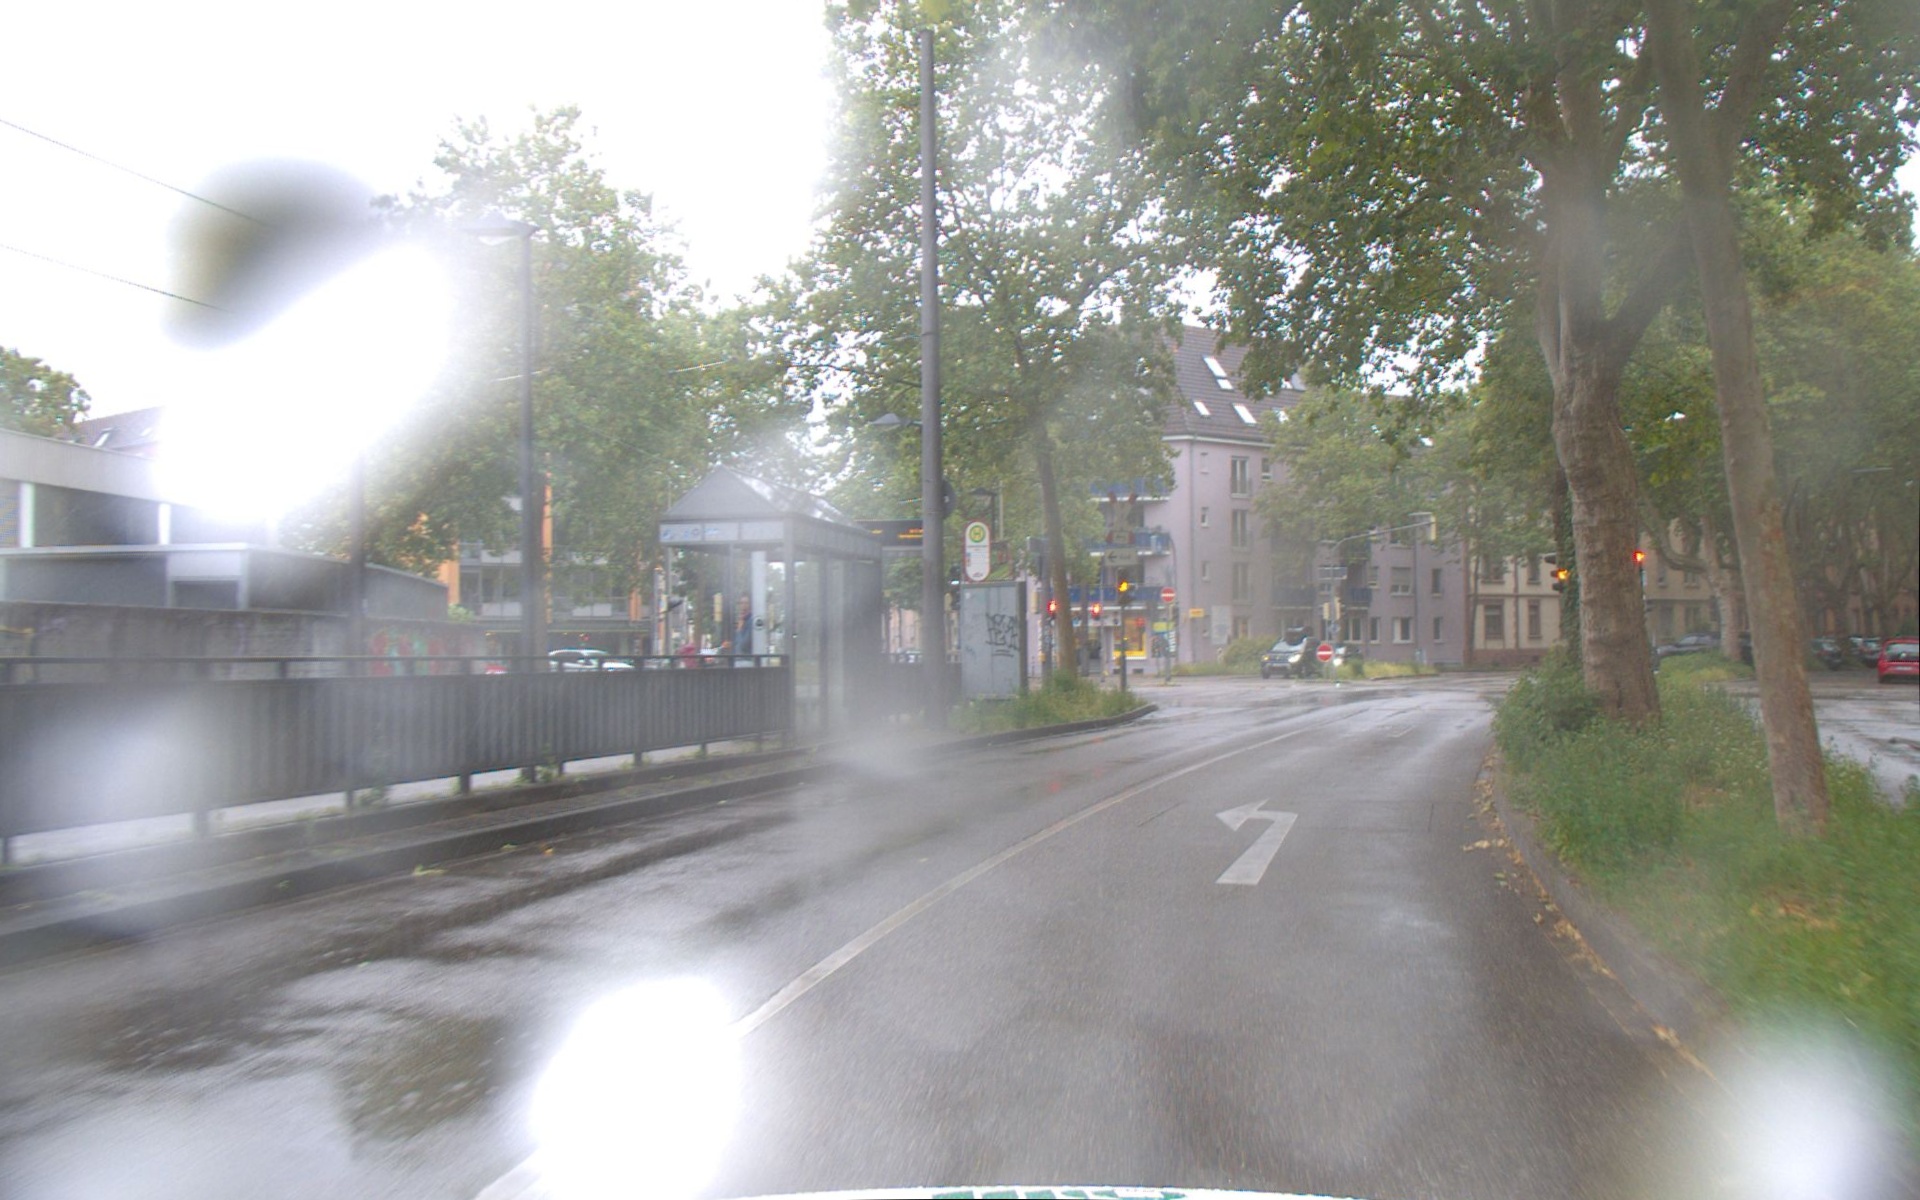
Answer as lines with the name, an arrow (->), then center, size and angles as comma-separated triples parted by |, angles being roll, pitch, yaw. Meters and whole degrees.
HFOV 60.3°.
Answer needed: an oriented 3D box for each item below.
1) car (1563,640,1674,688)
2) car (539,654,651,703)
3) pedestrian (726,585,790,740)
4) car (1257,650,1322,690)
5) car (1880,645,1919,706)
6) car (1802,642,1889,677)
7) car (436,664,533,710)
car -> 23.486, 2.286, 58.990 | 3.414, 1.550, 1.516 | -4, -3, 31
car -> -13.892, 2.975, 62.831 | 3.936, 1.680, 1.966 | -4, -3, 34
pedestrian -> -2.358, 0.730, 19.282 | 0.572, 1.761, 0.565 | -1, -3, -21
car -> 13.789, 2.909, 69.070 | 1.691, 1.580, 3.555 | -4, -3, 27
car -> 33.970, 2.624, 58.387 | 1.961, 2.049, 3.983 | -4, -3, 37
car -> 45.615, 3.058, 85.254 | 1.666, 1.646, 3.565 | 0, -4, -40
car -> -19.055, 3.485, 66.232 | 3.715, 1.668, 1.719 | -4, -3, 34
